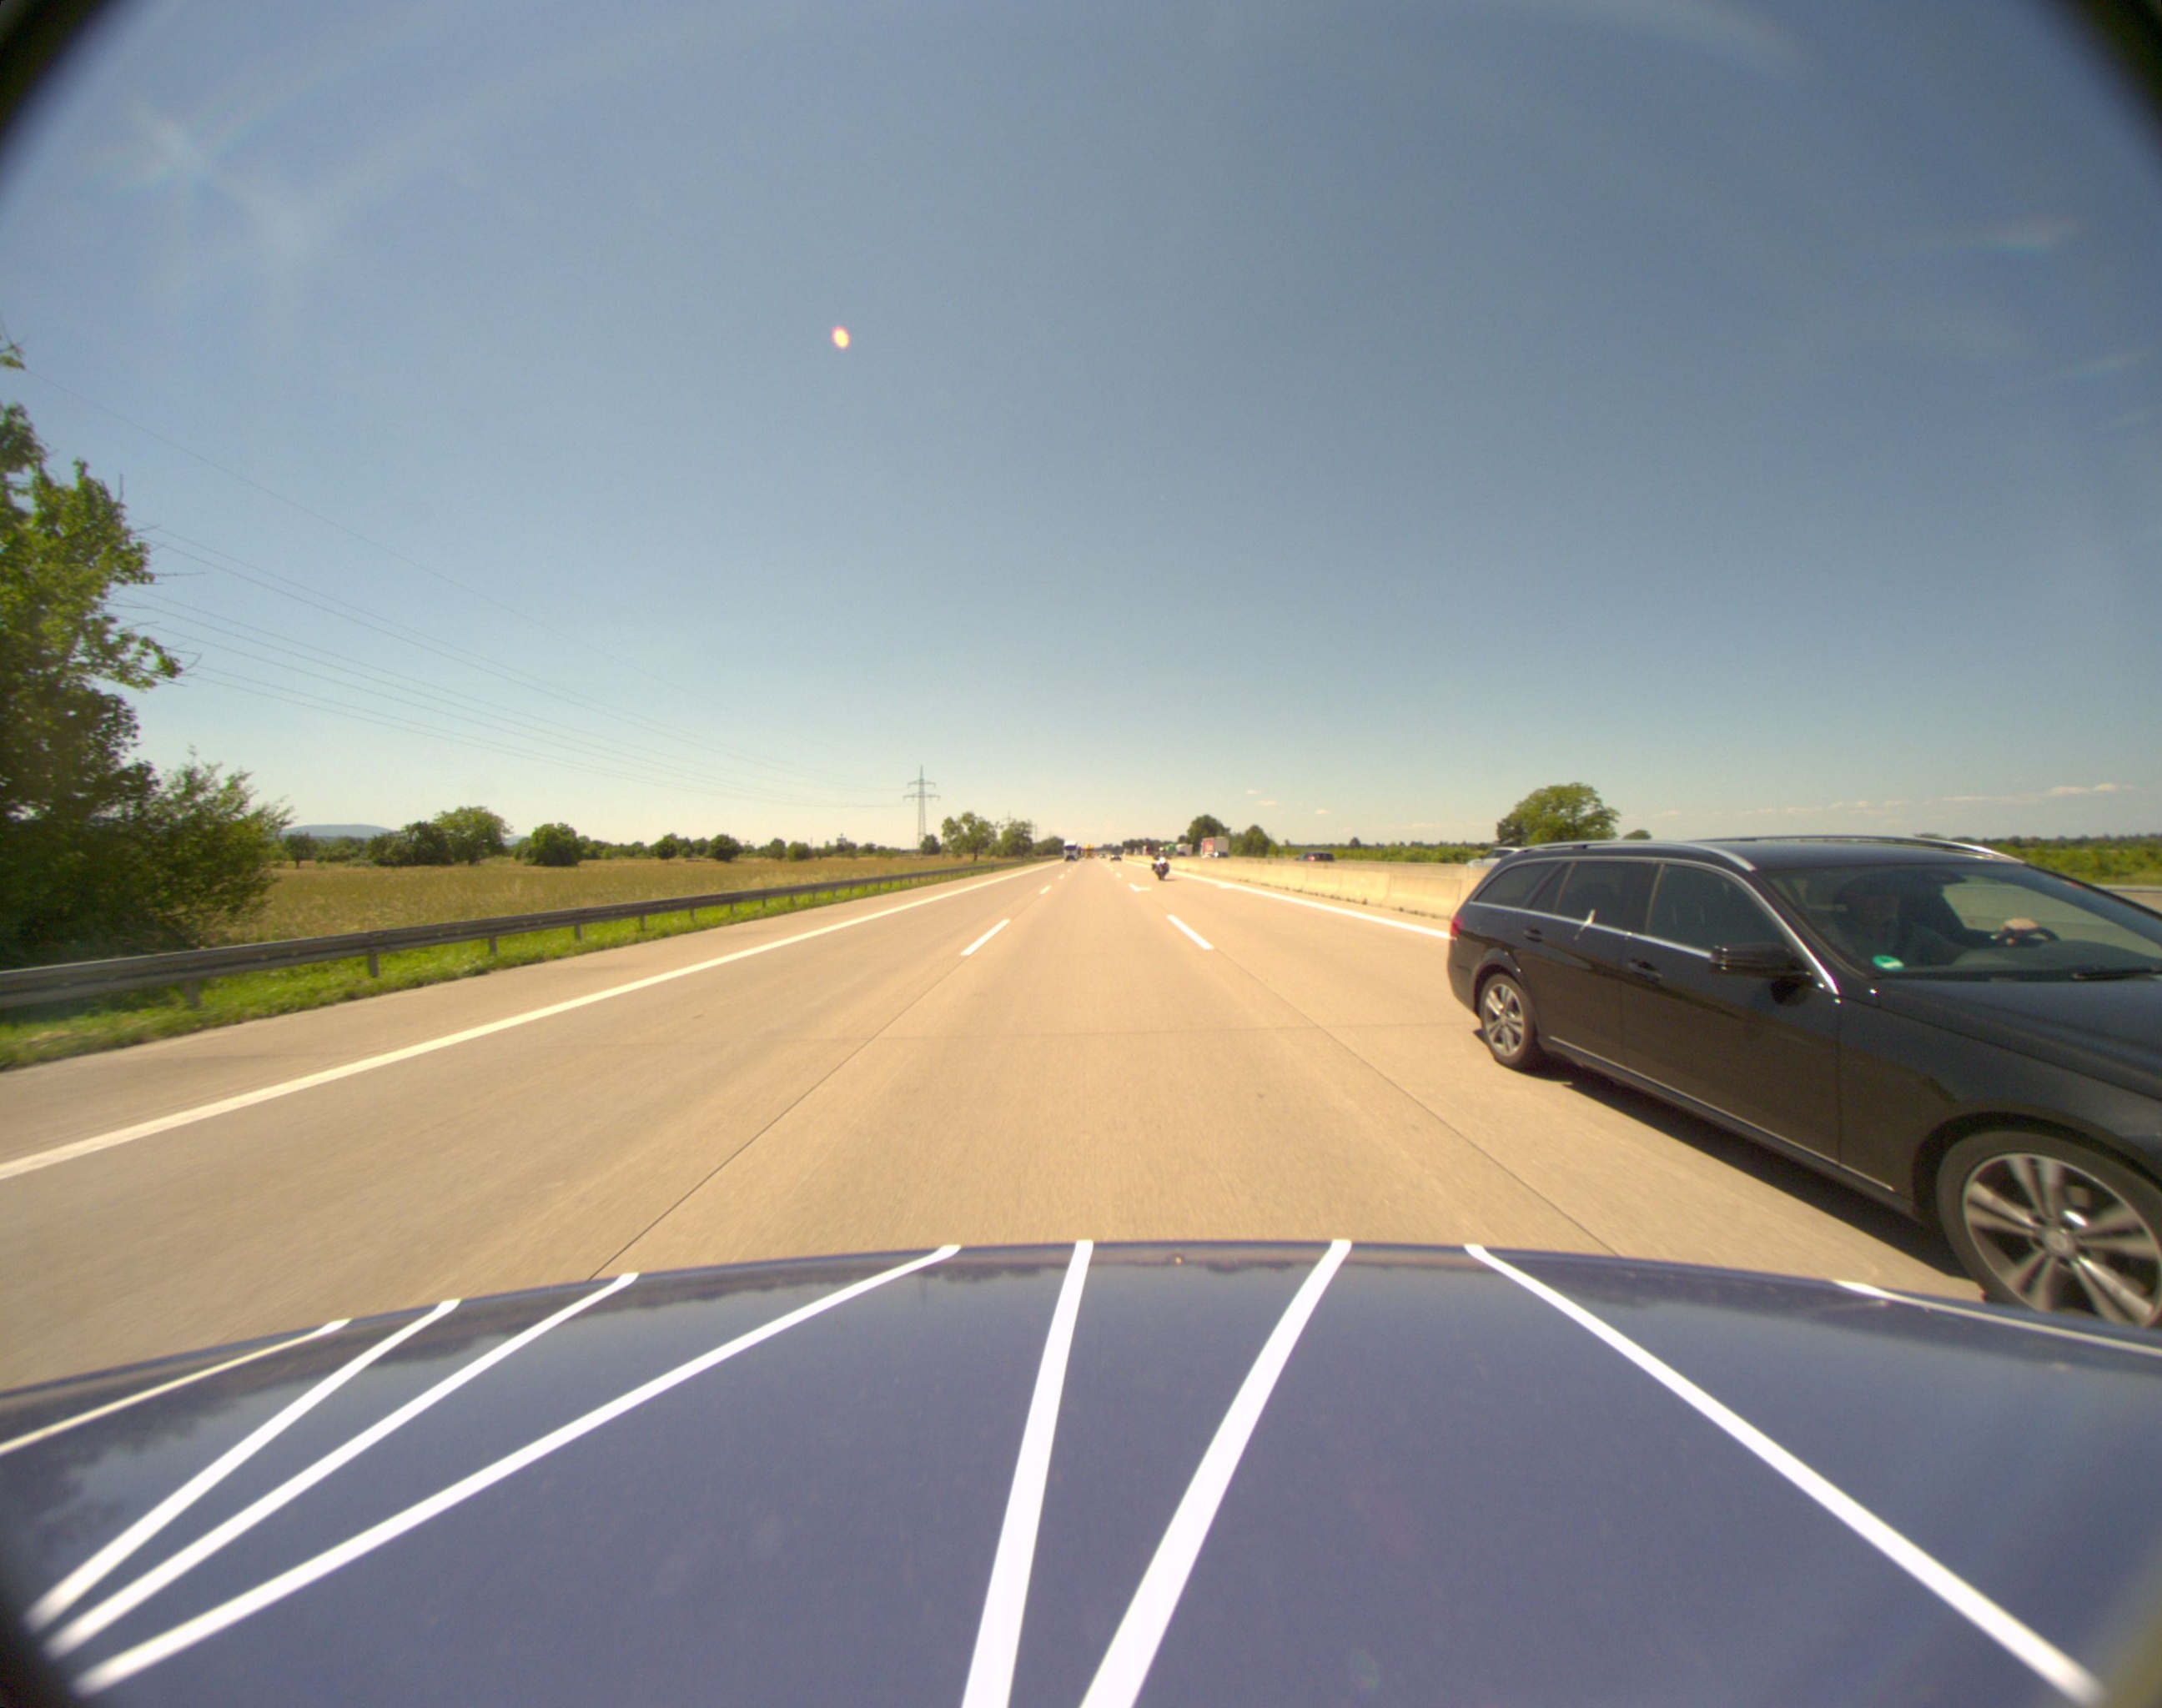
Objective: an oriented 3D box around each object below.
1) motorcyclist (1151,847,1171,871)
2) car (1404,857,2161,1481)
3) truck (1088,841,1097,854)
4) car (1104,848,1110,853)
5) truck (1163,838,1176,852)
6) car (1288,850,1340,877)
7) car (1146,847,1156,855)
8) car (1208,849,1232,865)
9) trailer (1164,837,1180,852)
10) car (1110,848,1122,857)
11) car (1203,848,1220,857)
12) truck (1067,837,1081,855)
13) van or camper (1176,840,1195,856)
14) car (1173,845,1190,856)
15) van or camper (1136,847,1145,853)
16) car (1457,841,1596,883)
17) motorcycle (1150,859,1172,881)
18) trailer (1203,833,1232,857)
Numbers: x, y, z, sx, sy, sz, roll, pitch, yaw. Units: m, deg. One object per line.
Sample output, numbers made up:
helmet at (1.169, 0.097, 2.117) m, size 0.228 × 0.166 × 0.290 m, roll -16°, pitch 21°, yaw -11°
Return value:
motorcyclist at (4.107, 0.253, 39.096) m, size 1.027 × 1.202 × 0.911 m, roll -1°, pitch 1°, yaw 5°
car at (3.634, 0.791, 3.600) m, size 1.895 × 1.465 × 5.603 m, roll -1°, pitch 0°, yaw 1°
truck at (3.324, -2.047, 224.772) m, size 2.570 × 3.711 × 10.099 m, roll -1°, pitch 0°, yaw 1°
car at (7.142, -0.987, 212.135) m, size 1.586 × 1.527 × 3.611 m, roll 0°, pitch 1°, yaw 1°
truck at (24.116, -2.464, 207.692) m, size 2.751 × 3.860 × 6.203 m, roll -1°, pitch 0°, yaw -1°
car at (13.347, 0.510, 43.785) m, size 1.761 × 1.488 × 4.080 m, roll 0°, pitch 1°, yaw 1°
car at (15.155, -0.659, 163.677) m, size 1.798 × 1.546 × 4.601 m, roll -1°, pitch 0°, yaw 1°
car at (13.729, 0.301, 75.317) m, size 1.692 × 1.535 × 4.338 m, roll -1°, pitch 0°, yaw 1°
trailer at (24.230, -2.415, 202.405) m, size 2.742 × 3.855 × 11.103 m, roll -1°, pitch 0°, yaw -1°
car at (5.991, -0.256, 130.004) m, size 1.998 × 1.518 × 4.000 m, roll 0°, pitch 1°, yaw 1°
car at (18.615, -0.163, 108.694) m, size 1.692 × 1.256 × 4.791 m, roll -1°, pitch 0°, yaw 1°
truck at (-1.461, -1.590, 156.440) m, size 2.570 × 3.514 × 10.099 m, roll -1°, pitch 0°, yaw 1°
van or camper at (19.026, -1.054, 138.870) m, size 2.532 × 2.873 × 7.937 m, roll -1°, pitch 0°, yaw 1°
car at (14.879, -0.566, 112.637) m, size 1.847 × 1.606 × 4.427 m, roll 0°, pitch 0°, yaw 0°
van or camper at (16.729, -1.173, 212.966) m, size 2.247 × 1.683 × 5.849 m, roll 0°, pitch 1°, yaw 1°
car at (17.641, 0.267, 30.575) m, size 2.070 × 1.488 × 6.135 m, roll 0°, pitch 1°, yaw 1°
motorcycle at (4.132, 0.786, 39.286) m, size 1.023 × 1.042 × 2.413 m, roll -2°, pitch 0°, yaw 4°
trailer at (23.487, -1.491, 131.597) m, size 3.007 × 3.959 × 12.341 m, roll -1°, pitch 0°, yaw 1°
